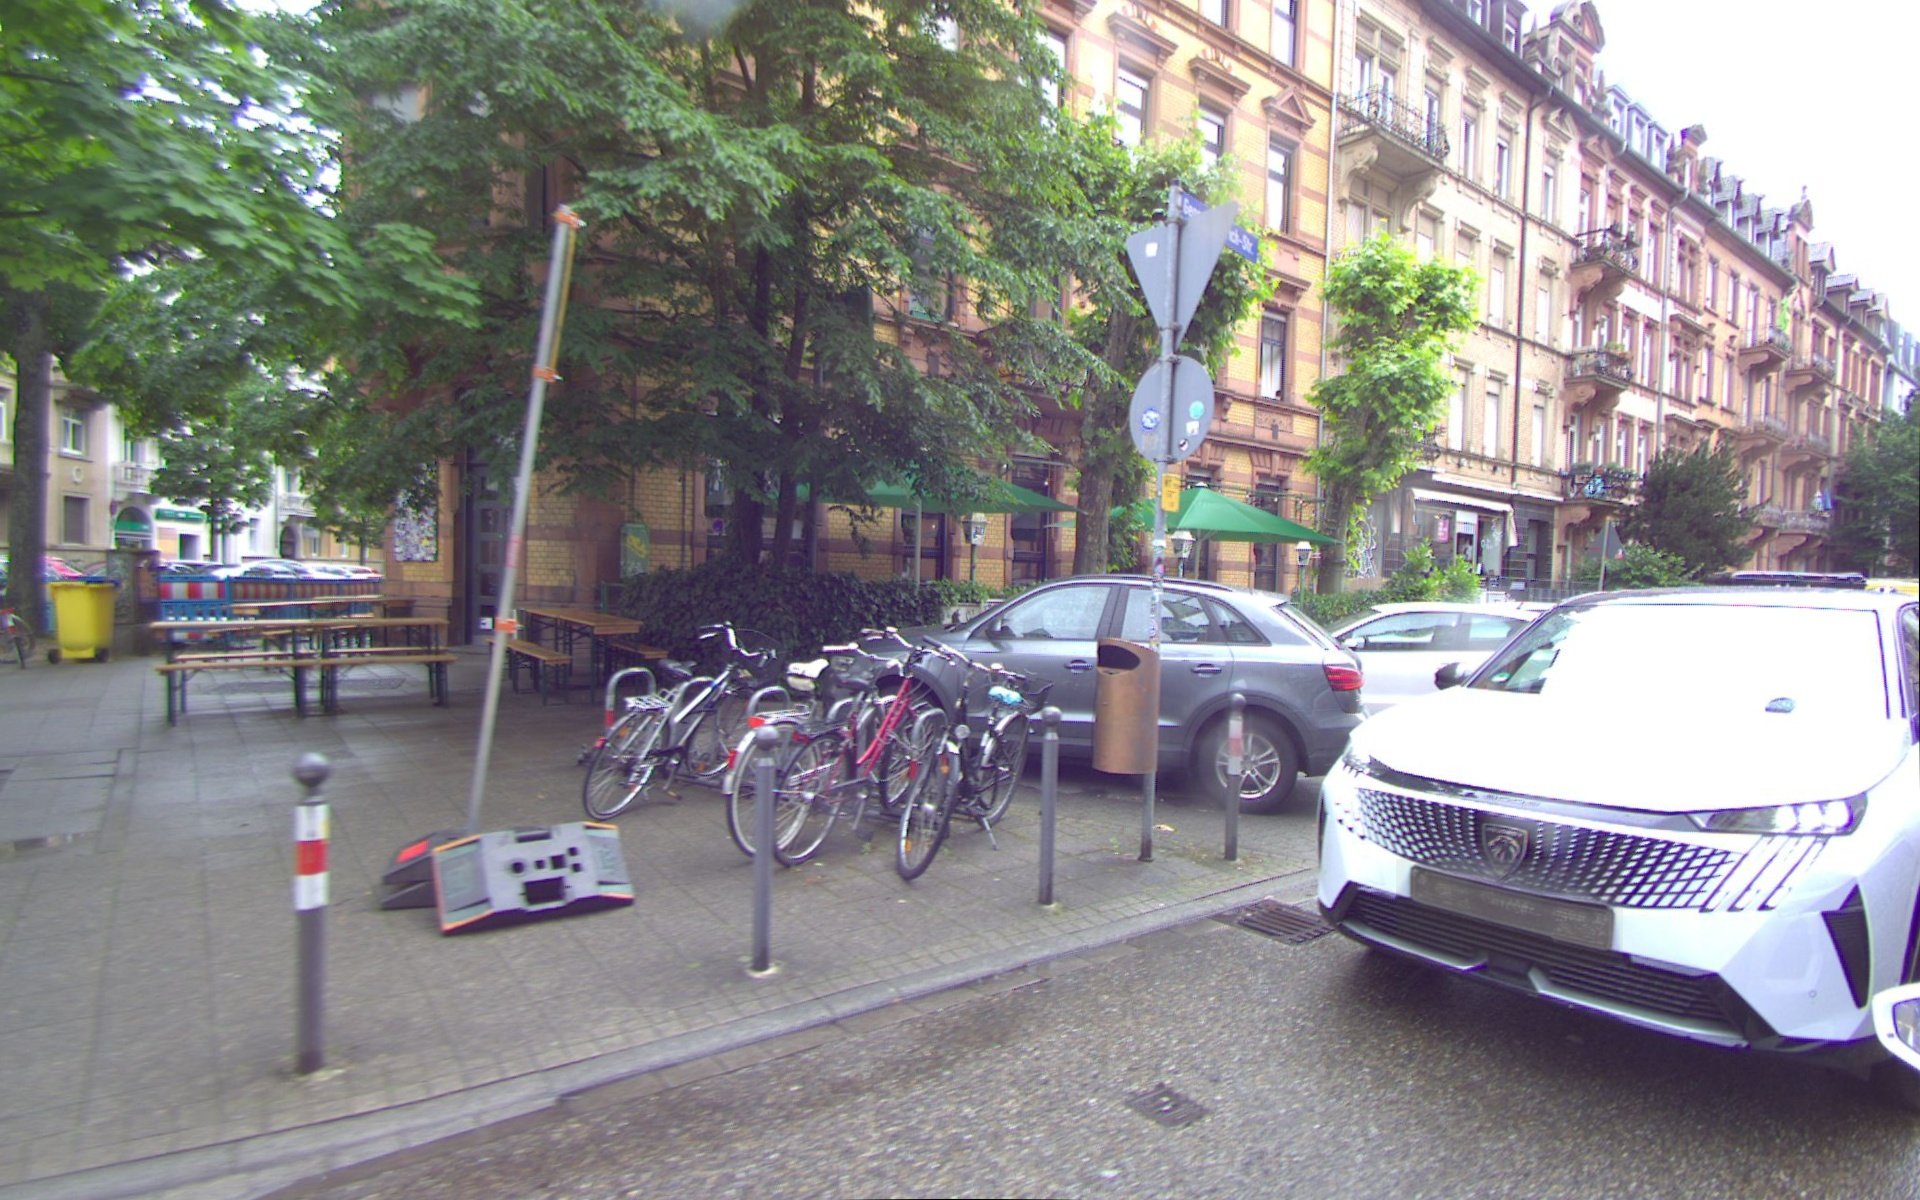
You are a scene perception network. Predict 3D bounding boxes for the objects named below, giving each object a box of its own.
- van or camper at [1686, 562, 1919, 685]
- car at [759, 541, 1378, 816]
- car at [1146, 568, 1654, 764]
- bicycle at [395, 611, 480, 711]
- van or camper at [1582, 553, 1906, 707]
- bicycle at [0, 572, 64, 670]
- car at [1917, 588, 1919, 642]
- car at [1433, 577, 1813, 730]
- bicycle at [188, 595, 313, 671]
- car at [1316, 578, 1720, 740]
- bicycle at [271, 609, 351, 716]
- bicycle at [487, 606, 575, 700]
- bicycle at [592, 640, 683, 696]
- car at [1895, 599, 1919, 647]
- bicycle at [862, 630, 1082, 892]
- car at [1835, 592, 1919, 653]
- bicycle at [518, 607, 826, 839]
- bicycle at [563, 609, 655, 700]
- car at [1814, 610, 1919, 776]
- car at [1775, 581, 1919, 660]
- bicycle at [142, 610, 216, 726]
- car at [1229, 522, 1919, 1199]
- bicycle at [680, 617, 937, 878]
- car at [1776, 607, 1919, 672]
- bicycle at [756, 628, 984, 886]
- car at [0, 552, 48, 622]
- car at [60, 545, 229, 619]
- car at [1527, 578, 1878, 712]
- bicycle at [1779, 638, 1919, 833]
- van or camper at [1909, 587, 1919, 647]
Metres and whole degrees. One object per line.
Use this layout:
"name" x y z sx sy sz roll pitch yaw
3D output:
"van or camper" 18.645 0.450 21.346 4.634 2.299 2.184 4 3 20
"car" 0.857 0.483 8.119 4.369 1.584 2.001 4 1 16
"car" 4.575 0.570 11.120 4.631 1.584 2.000 4 3 18
"bicycle" -5.010 0.550 9.601 0.402 0.826 1.378 0 2 -41
"van or camper" 13.744 0.470 17.943 4.004 2.269 1.937 5 2 20
"bicycle" -11.765 0.225 12.519 0.736 1.106 2.385 0 1 -38
"car" 44.571 0.654 42.418 5.468 2.575 2.227 2 2 25
"car" 9.174 0.665 14.321 4.056 1.684 1.801 5 2 16
"bicycle" -8.606 0.386 12.183 1.515 0.826 0.405 2 1 18
"car" 6.708 0.645 12.619 4.056 1.513 1.801 5 1 17
"bicycle" -5.780 0.523 8.927 0.402 0.826 1.378 0 2 -41
"bicycle" -4.303 0.501 10.040 0.402 0.826 1.378 0 2 -41
"bicycle" -3.461 0.707 10.724 0.402 0.459 1.378 1 1 -41
"car" 36.439 0.983 35.588 4.363 1.652 1.842 5 3 27
"bicycle" 0.138 0.791 5.641 0.576 1.159 1.681 3 1 24
"car" 31.324 0.795 32.127 2.523 1.809 4.542 1 4 -38
"bicycle" -1.683 0.646 6.249 0.762 1.159 1.930 3 1 24
"bicycle" -3.664 0.539 10.447 0.402 0.826 1.378 1 2 -41
"car" 10.472 0.883 10.377 4.102 1.513 1.781 1 -1 -39
"car" 26.936 0.608 28.815 5.157 2.106 1.867 3 1 28
"bicycle" -6.500 0.528 8.342 0.402 0.826 1.378 0 2 -41
"car" 3.573 0.697 4.672 4.963 1.682 1.844 2 0 -38
"bicycle" -0.770 0.723 5.719 0.392 1.201 1.875 3 2 27
"car" 23.180 0.985 25.117 3.924 1.455 1.783 2 1 24
"bicycle" -0.426 0.764 5.573 0.392 1.159 1.680 3 2 27
"car" -21.221 -0.250 20.469 1.810 1.497 4.378 0 2 -10
"car" -21.713 -0.509 26.984 1.812 1.821 4.373 0 2 -14
"car" 11.700 0.654 16.174 4.056 1.684 1.802 5 1 16
"bicycle" 7.039 0.943 7.692 2.250 1.196 0.764 -1 1 -40
"van or camper" 40.624 0.772 38.965 4.932 2.381 2.342 2 2 27
